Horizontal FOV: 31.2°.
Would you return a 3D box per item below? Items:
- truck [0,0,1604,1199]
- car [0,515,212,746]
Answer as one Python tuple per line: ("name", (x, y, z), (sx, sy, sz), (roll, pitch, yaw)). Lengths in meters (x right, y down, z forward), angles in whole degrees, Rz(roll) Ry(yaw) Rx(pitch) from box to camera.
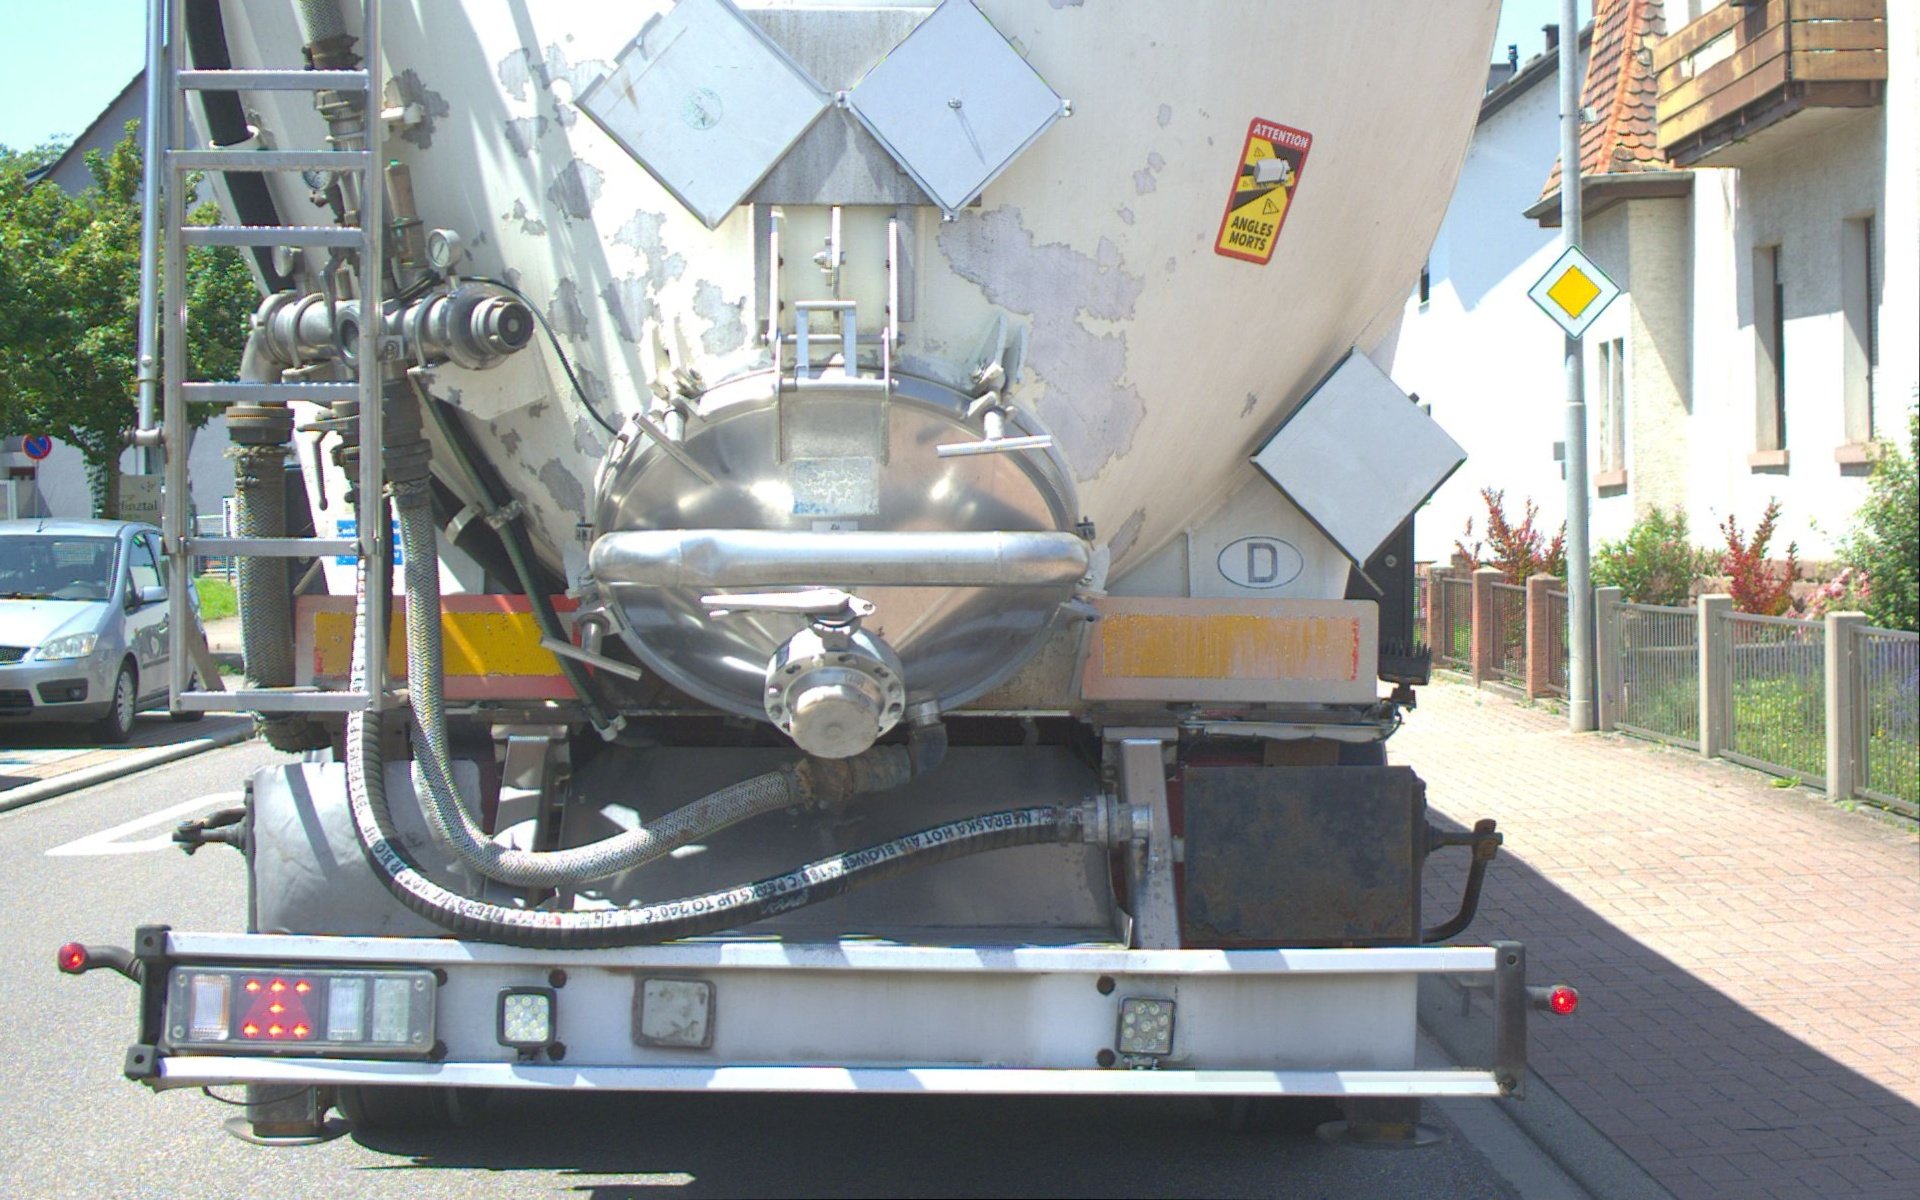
("truck", (-0.307, -0.754, 10.369), (2.641, 4.002, 9.562), (0, 1, 0))
("car", (-6.760, 0.160, 25.409), (1.697, 1.575, 3.838), (0, 1, -1))
